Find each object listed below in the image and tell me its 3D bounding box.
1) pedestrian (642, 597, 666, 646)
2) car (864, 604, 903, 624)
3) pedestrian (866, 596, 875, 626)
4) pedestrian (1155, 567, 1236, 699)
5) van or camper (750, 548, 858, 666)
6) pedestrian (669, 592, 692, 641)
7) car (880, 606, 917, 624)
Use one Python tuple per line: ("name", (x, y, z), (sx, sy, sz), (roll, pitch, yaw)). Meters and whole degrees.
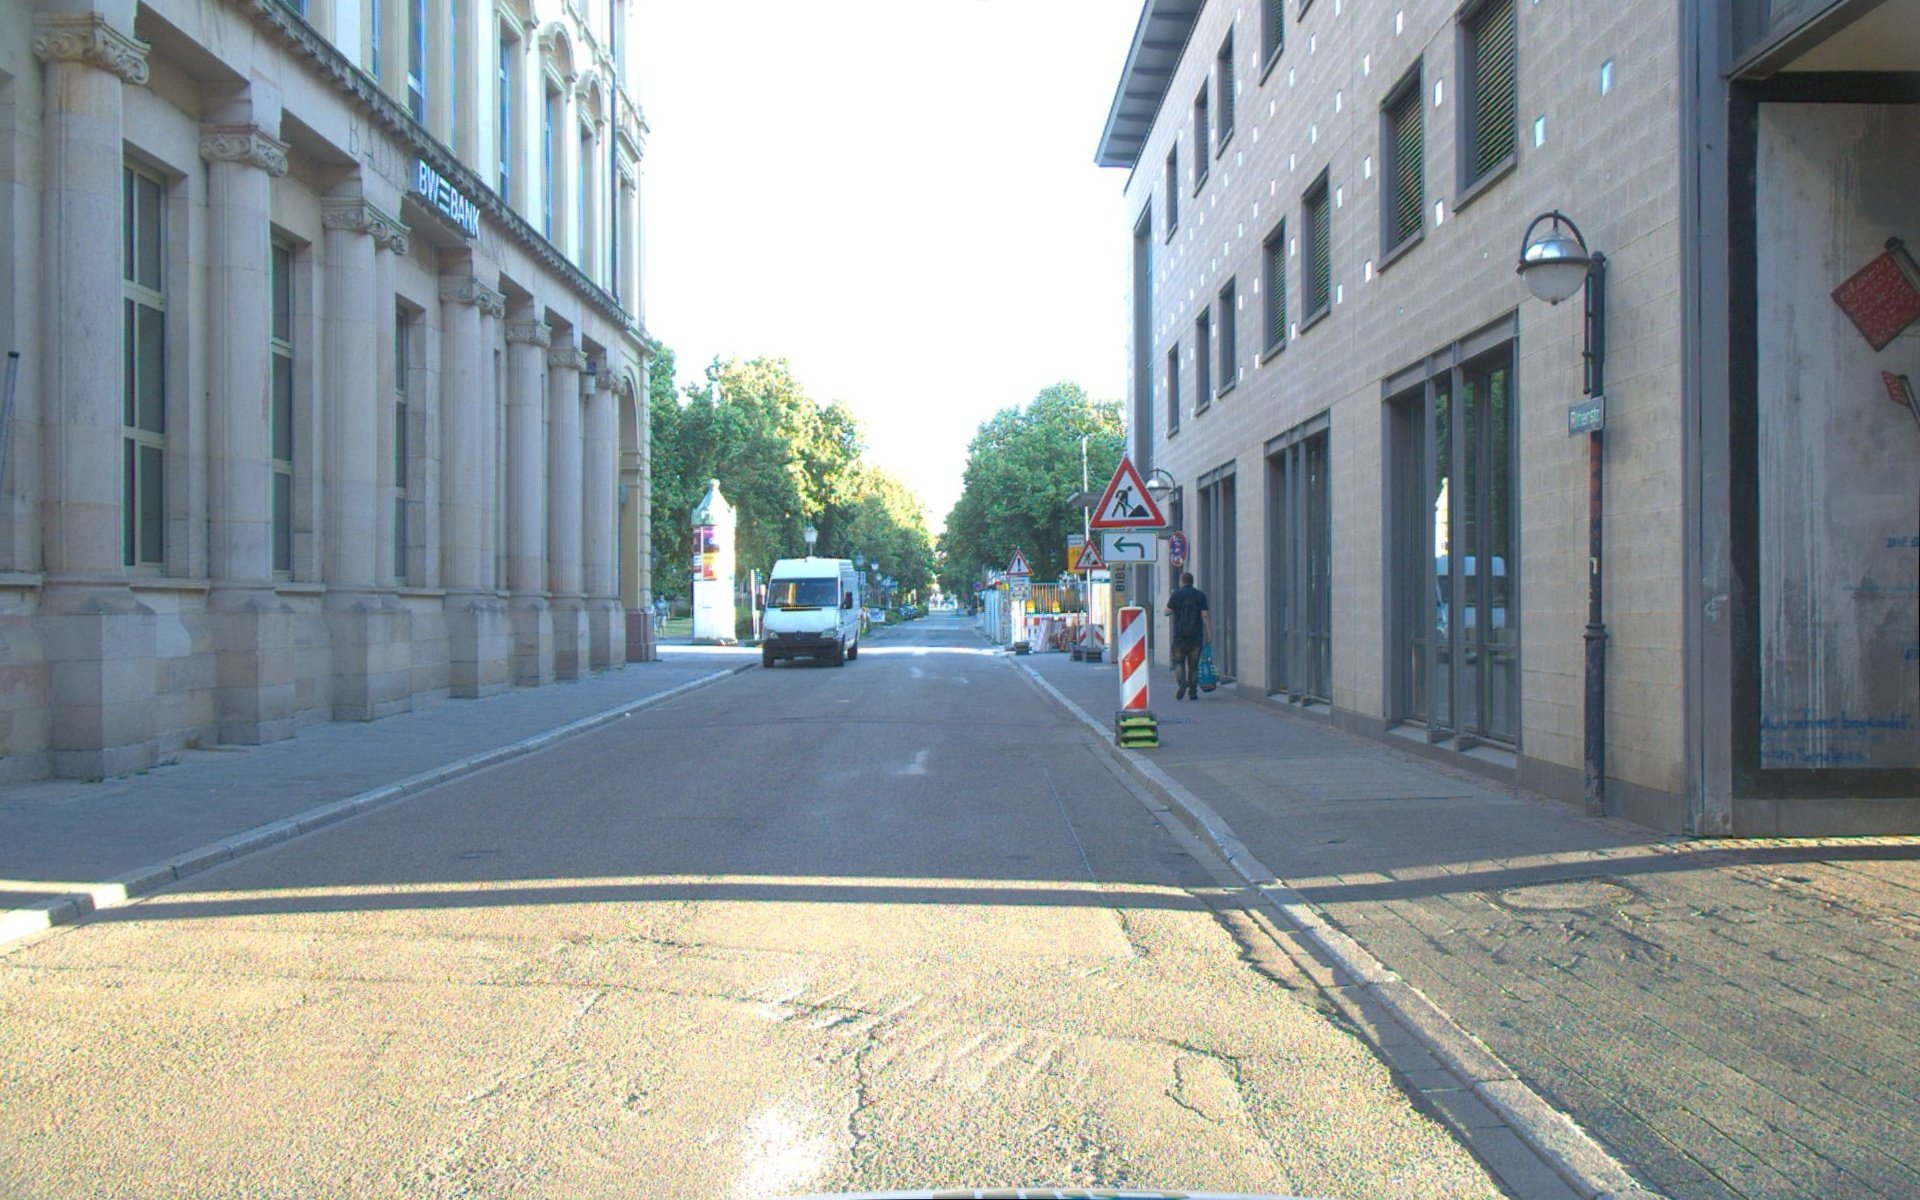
("pedestrian", (-11.531, 0.794, 62.300), (0.835, 1.839, 0.661), (0, 0, -14))
("car", (-7.398, 1.342, 160.871), (3.486, 1.814, 1.791), (-1, -1, 9))
("pedestrian", (-6.177, 0.730, 114.128), (0.598, 2.049, 0.903), (0, 0, -9))
("pedestrian", (3.377, 0.474, 23.816), (0.980, 1.835, 0.881), (-2, -1, -1))
("van or camper", (-3.691, 0.149, 40.236), (2.174, 2.630, 6.370), (0, 0, -1))
("pedestrian", (-10.548, 0.611, 62.424), (0.835, 1.839, 0.661), (0, 0, -14))
("car", (-6.288, 1.553, 169.773), (3.486, 1.814, 1.791), (-1, -1, 9))
